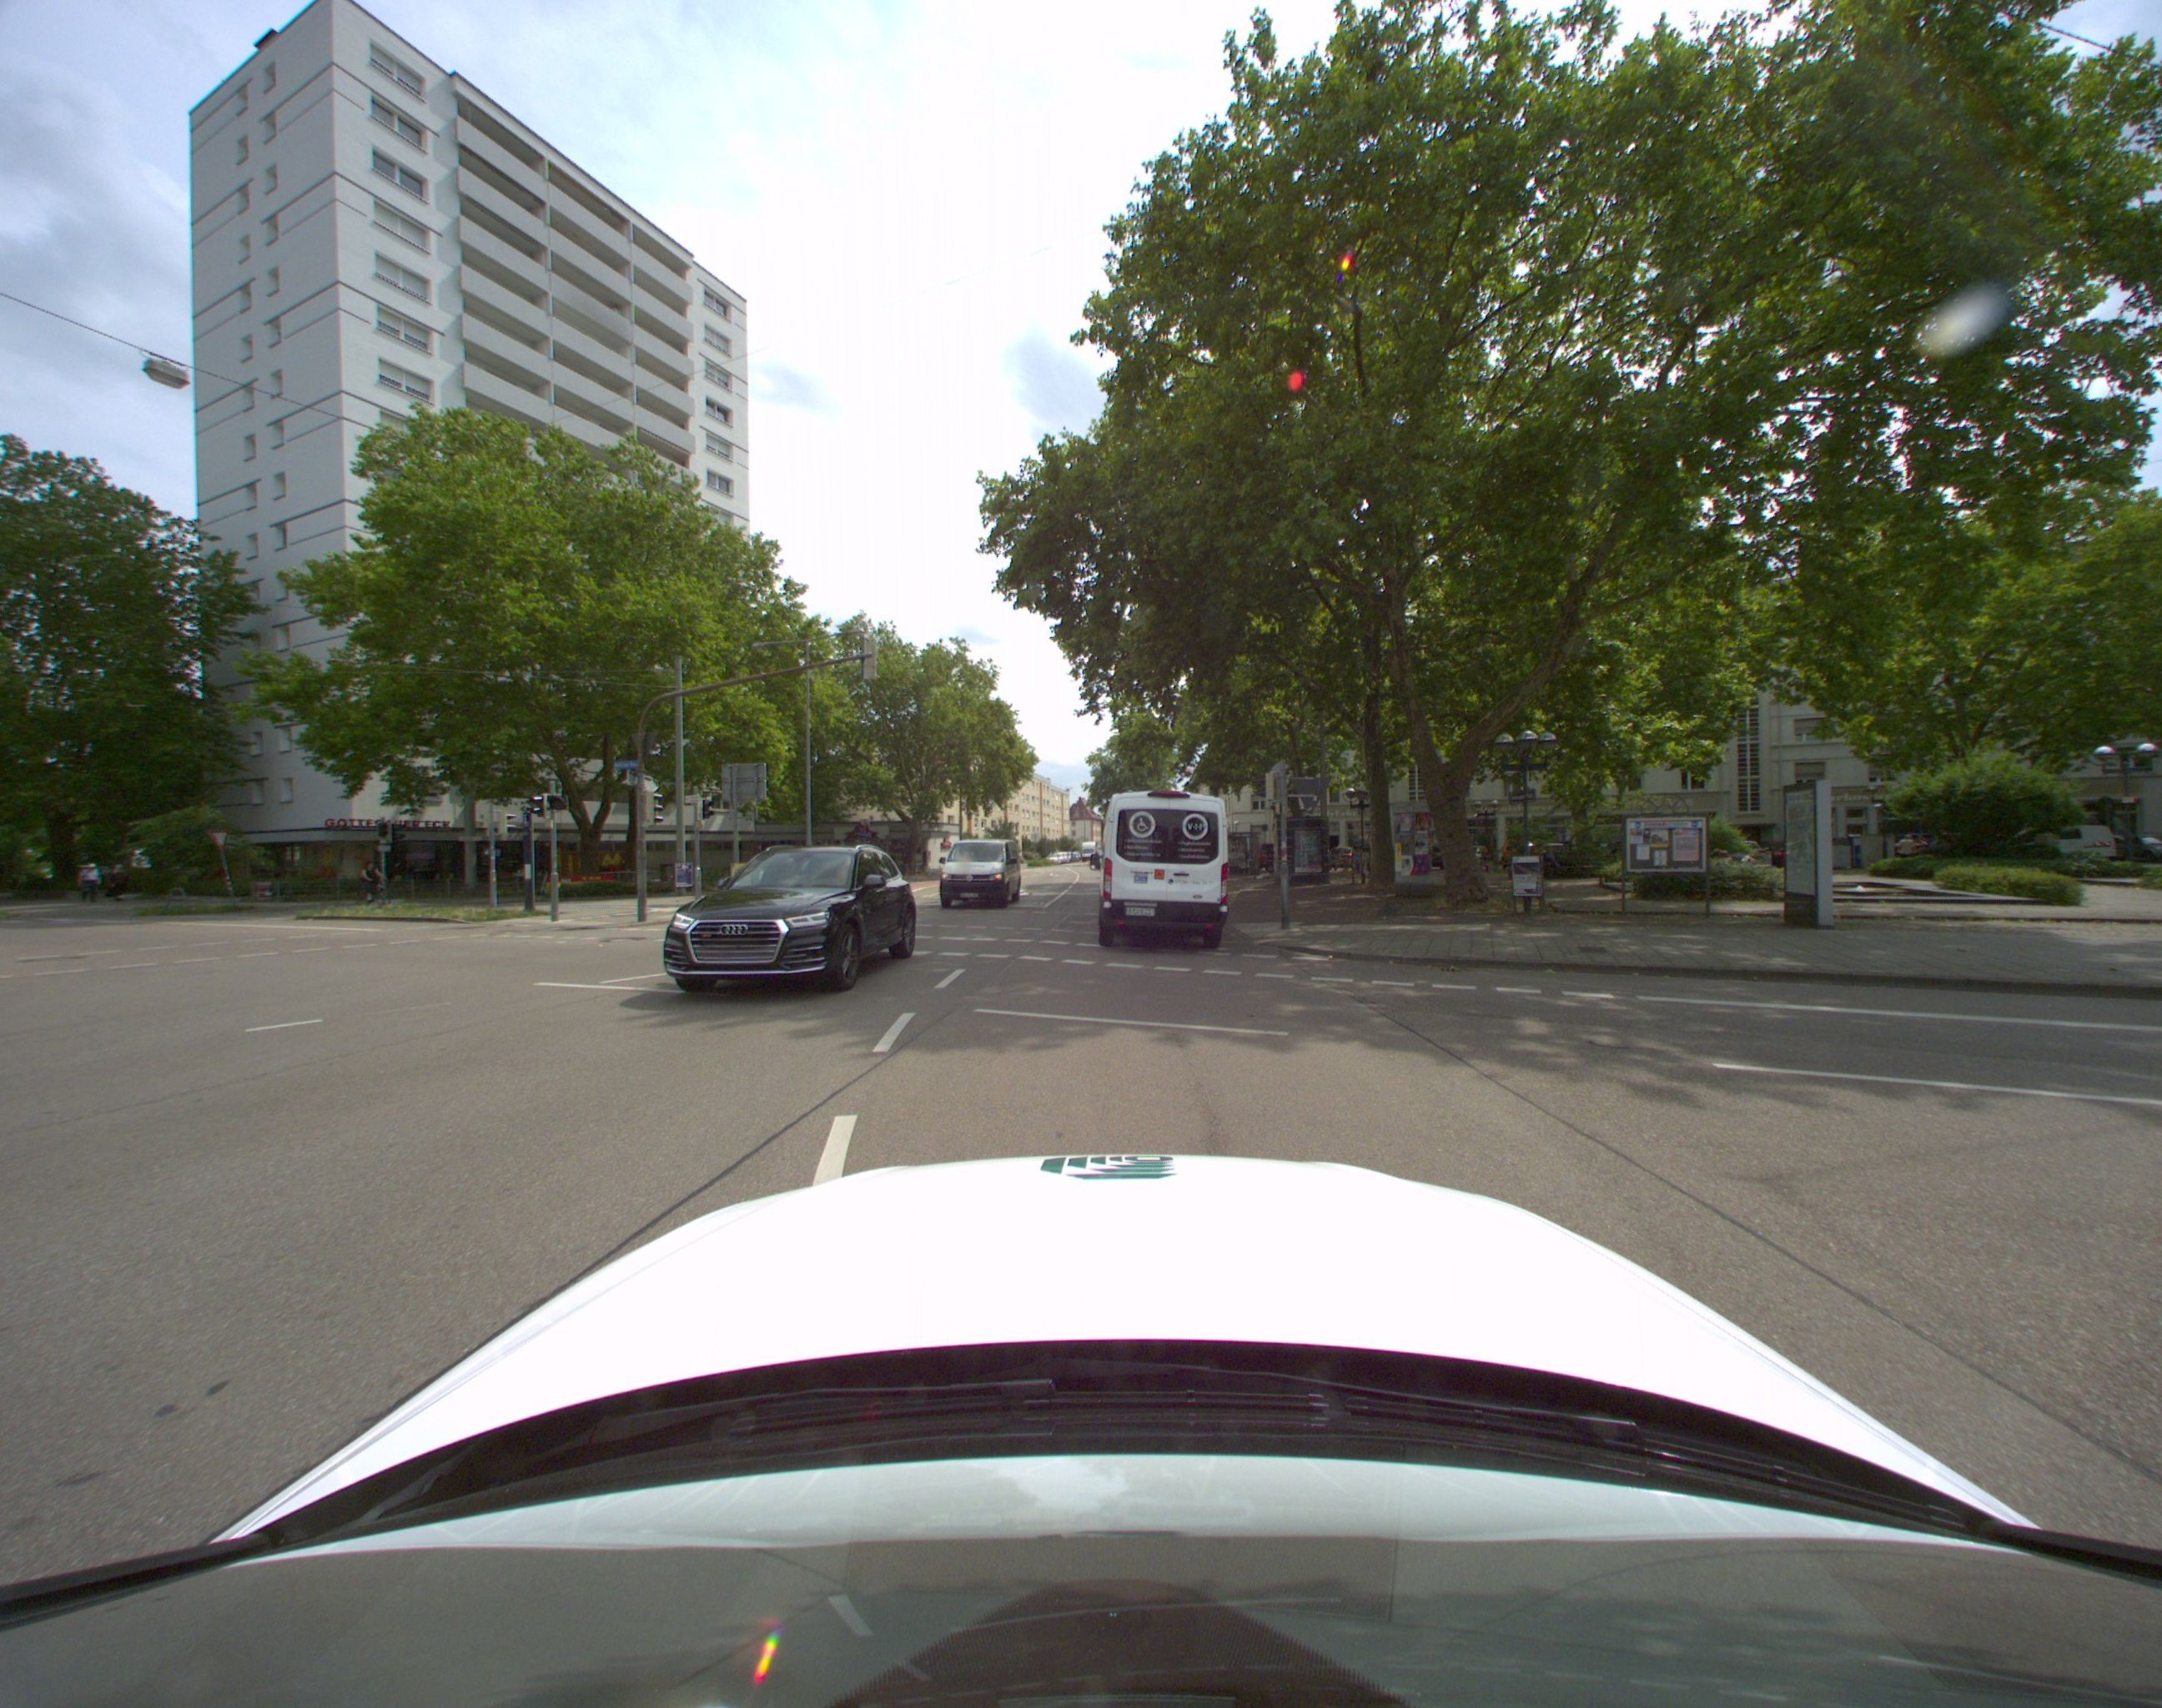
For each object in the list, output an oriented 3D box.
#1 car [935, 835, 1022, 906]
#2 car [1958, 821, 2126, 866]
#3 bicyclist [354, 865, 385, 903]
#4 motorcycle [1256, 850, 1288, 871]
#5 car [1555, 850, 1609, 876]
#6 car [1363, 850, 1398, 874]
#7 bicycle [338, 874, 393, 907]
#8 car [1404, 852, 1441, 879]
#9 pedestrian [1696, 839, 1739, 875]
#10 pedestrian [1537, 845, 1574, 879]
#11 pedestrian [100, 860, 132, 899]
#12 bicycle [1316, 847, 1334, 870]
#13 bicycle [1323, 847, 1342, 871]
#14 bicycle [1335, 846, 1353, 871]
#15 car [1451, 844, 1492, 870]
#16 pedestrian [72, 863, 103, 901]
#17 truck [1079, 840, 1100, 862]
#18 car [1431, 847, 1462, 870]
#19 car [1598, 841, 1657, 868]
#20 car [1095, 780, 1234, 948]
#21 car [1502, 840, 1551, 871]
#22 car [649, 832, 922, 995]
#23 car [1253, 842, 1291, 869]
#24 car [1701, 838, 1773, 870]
[{"bbox_3d":[-2.940,0.426,24.446,1.917,1.936,4.948,0,0,1],"label":"car"},{"bbox_3d":[41.766,-0.424,35.537,4.279,1.816,2.012,-1,0,25],"label":"car"},{"bbox_3d":[-26.209,1.096,29.999,0.744,1.342,0.494,-4,-1,21],"label":"bicyclist"},{"bbox_3d":[11.704,0.402,49.993,1.849,1.222,0.530,-1,1,-2],"label":"motorcycle"},{"bbox_3d":[29.392,0.495,47.862,1.976,1.464,4.021,-1,0,21],"label":"car"},{"bbox_3d":[19.100,0.491,51.836,1.976,1.464,4.021,-1,0,21],"label":"car"},{"bbox_3d":[-26.446,1.346,30.099,1.948,1.094,0.630,-3,0,19],"label":"bicycle"},{"bbox_3d":[21.381,0.701,51.072,1.976,1.599,4.021,-1,0,21],"label":"car"},{"bbox_3d":[21.758,0.109,27.864,0.878,1.200,1.130,-1,1,22],"label":"pedestrian"},{"bbox_3d":[17.478,0.301,30.027,1.085,1.213,1.147,-1,-1,26],"label":"pedestrian"},{"bbox_3d":[-42.346,1.111,35.736,0.676,1.635,0.700,-1,0,22],"label":"pedestrian"},{"bbox_3d":[14.743,0.262,49.171,0.415,1.378,2.326,-1,0,33],"label":"bicycle"},{"bbox_3d":[15.038,0.271,48.670,0.415,1.378,2.326,-1,1,33],"label":"bicycle"},{"bbox_3d":[15.668,0.249,48.429,0.415,1.378,2.326,-1,0,33],"label":"bicycle"},{"bbox_3d":[24.029,0.177,50.253,1.976,1.464,4.021,-1,0,21],"label":"car"},{"bbox_3d":[-43.294,1.215,35.483,0.500,1.623,0.700,-1,0,22],"label":"pedestrian"},{"bbox_3d":[1.320,-0.473,126.175,2.529,3.107,7.030,-3,0,5],"label":"truck"},{"bbox_3d":[26.679,0.330,59.527,1.976,1.591,4.218,-1,0,24],"label":"car"},{"bbox_3d":[31.480,0.027,47.045,1.976,1.464,4.021,-1,0,21],"label":"car"},{"bbox_3d":[1.409,0.190,14.705,2.061,2.540,4.638,-1,-1,3],"label":"car"},{"bbox_3d":[26.688,0.082,48.925,1.976,1.695,4.584,-1,0,21],"label":"car"},{"bbox_3d":[-3.408,0.582,10.419,1.816,1.647,4.428,0,0,1],"label":"car"},{"bbox_3d":[13.062,0.082,55.448,1.916,1.706,4.353,-1,0,21],"label":"car"},{"bbox_3d":[35.808,-0.033,44.573,1.976,1.640,4.022,-1,0,22],"label":"car"}]
